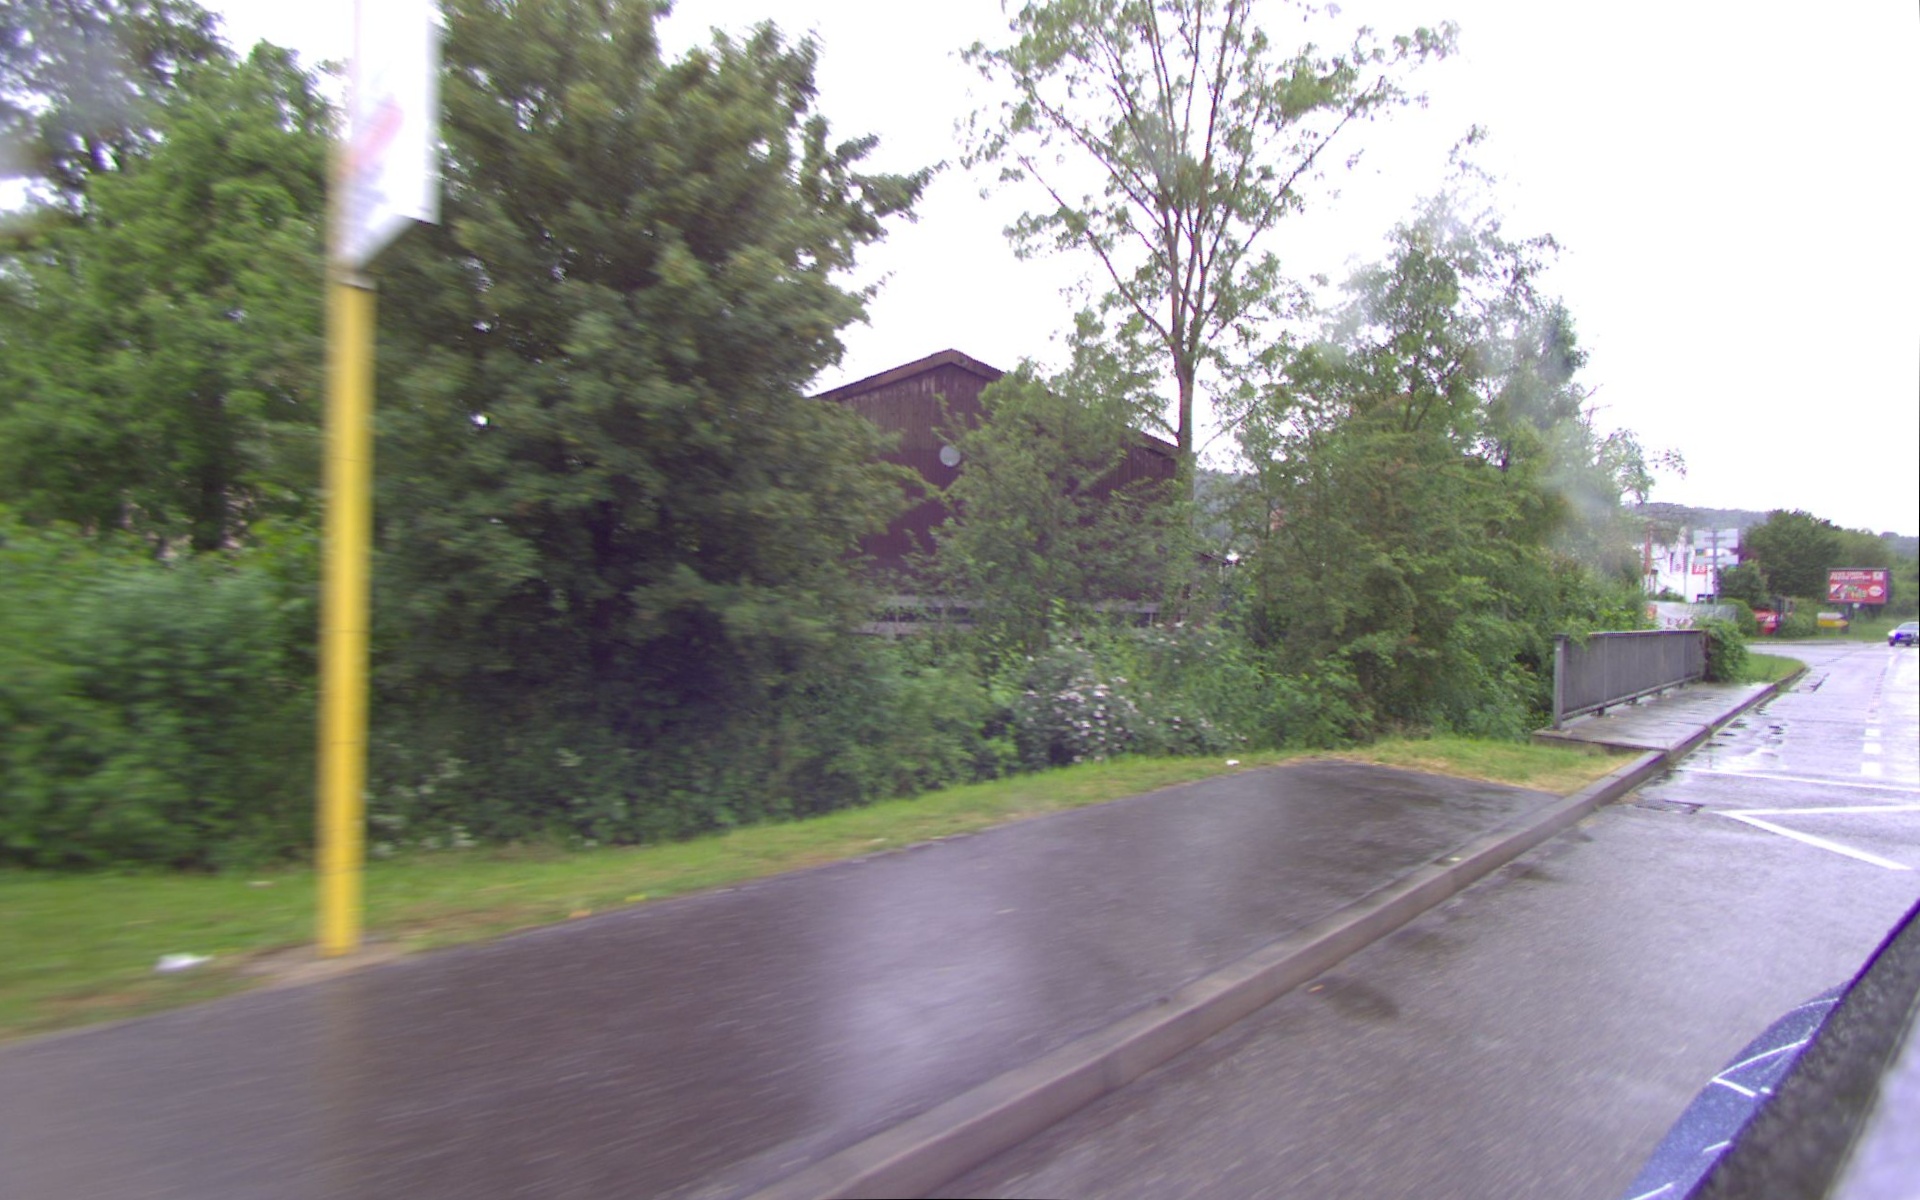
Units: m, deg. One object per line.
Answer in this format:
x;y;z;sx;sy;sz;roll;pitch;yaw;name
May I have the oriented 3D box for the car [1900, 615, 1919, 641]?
59.865;1.749;63.015;1.851;1.509;4.054;1;0;44;car
